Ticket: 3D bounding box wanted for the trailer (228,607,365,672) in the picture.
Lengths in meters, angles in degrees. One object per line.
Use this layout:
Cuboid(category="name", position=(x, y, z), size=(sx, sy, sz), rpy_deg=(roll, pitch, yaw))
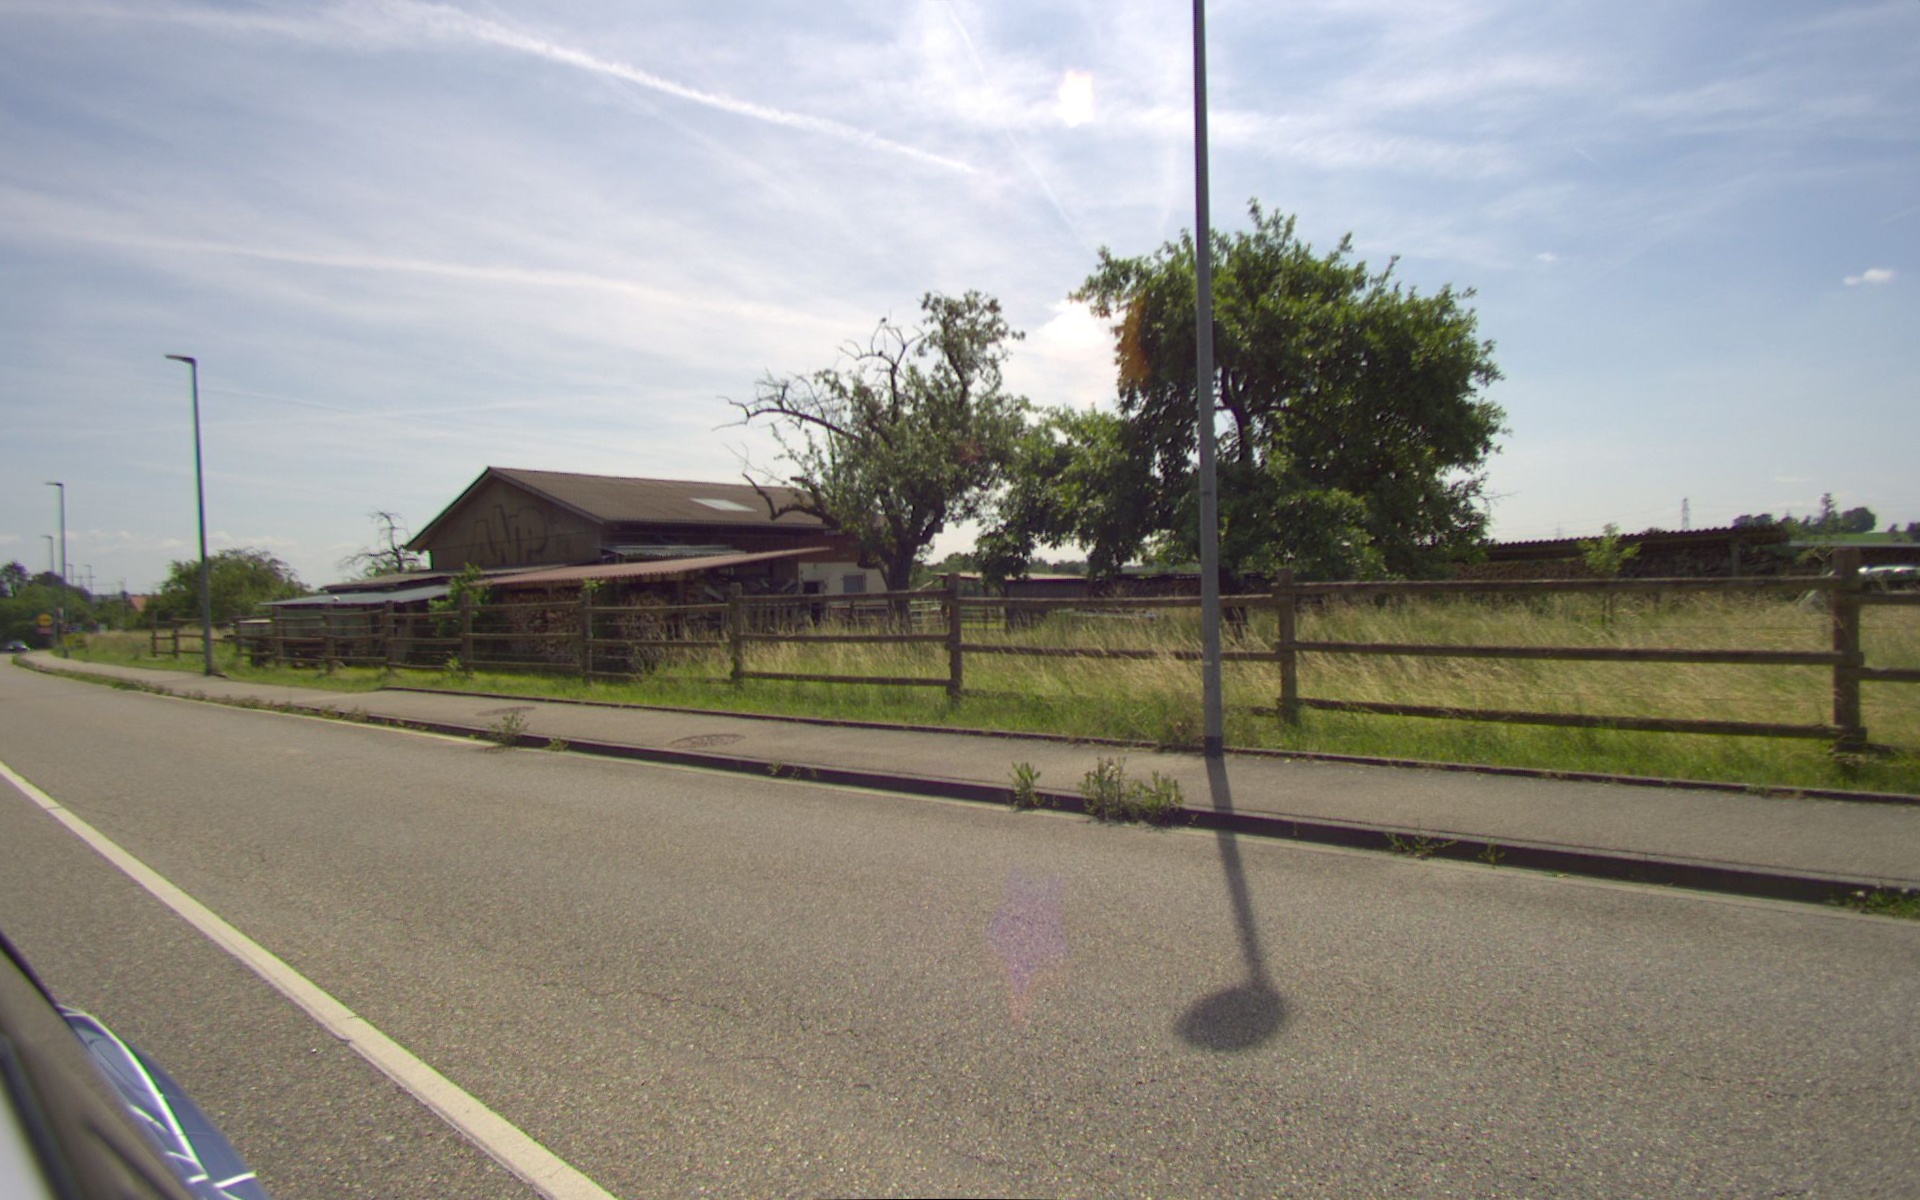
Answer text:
Cuboid(category="trailer", position=(-19.411, 1.137, 29.528), size=(5.027, 1.716, 2.132), rpy_deg=(-2, -1, 42))
